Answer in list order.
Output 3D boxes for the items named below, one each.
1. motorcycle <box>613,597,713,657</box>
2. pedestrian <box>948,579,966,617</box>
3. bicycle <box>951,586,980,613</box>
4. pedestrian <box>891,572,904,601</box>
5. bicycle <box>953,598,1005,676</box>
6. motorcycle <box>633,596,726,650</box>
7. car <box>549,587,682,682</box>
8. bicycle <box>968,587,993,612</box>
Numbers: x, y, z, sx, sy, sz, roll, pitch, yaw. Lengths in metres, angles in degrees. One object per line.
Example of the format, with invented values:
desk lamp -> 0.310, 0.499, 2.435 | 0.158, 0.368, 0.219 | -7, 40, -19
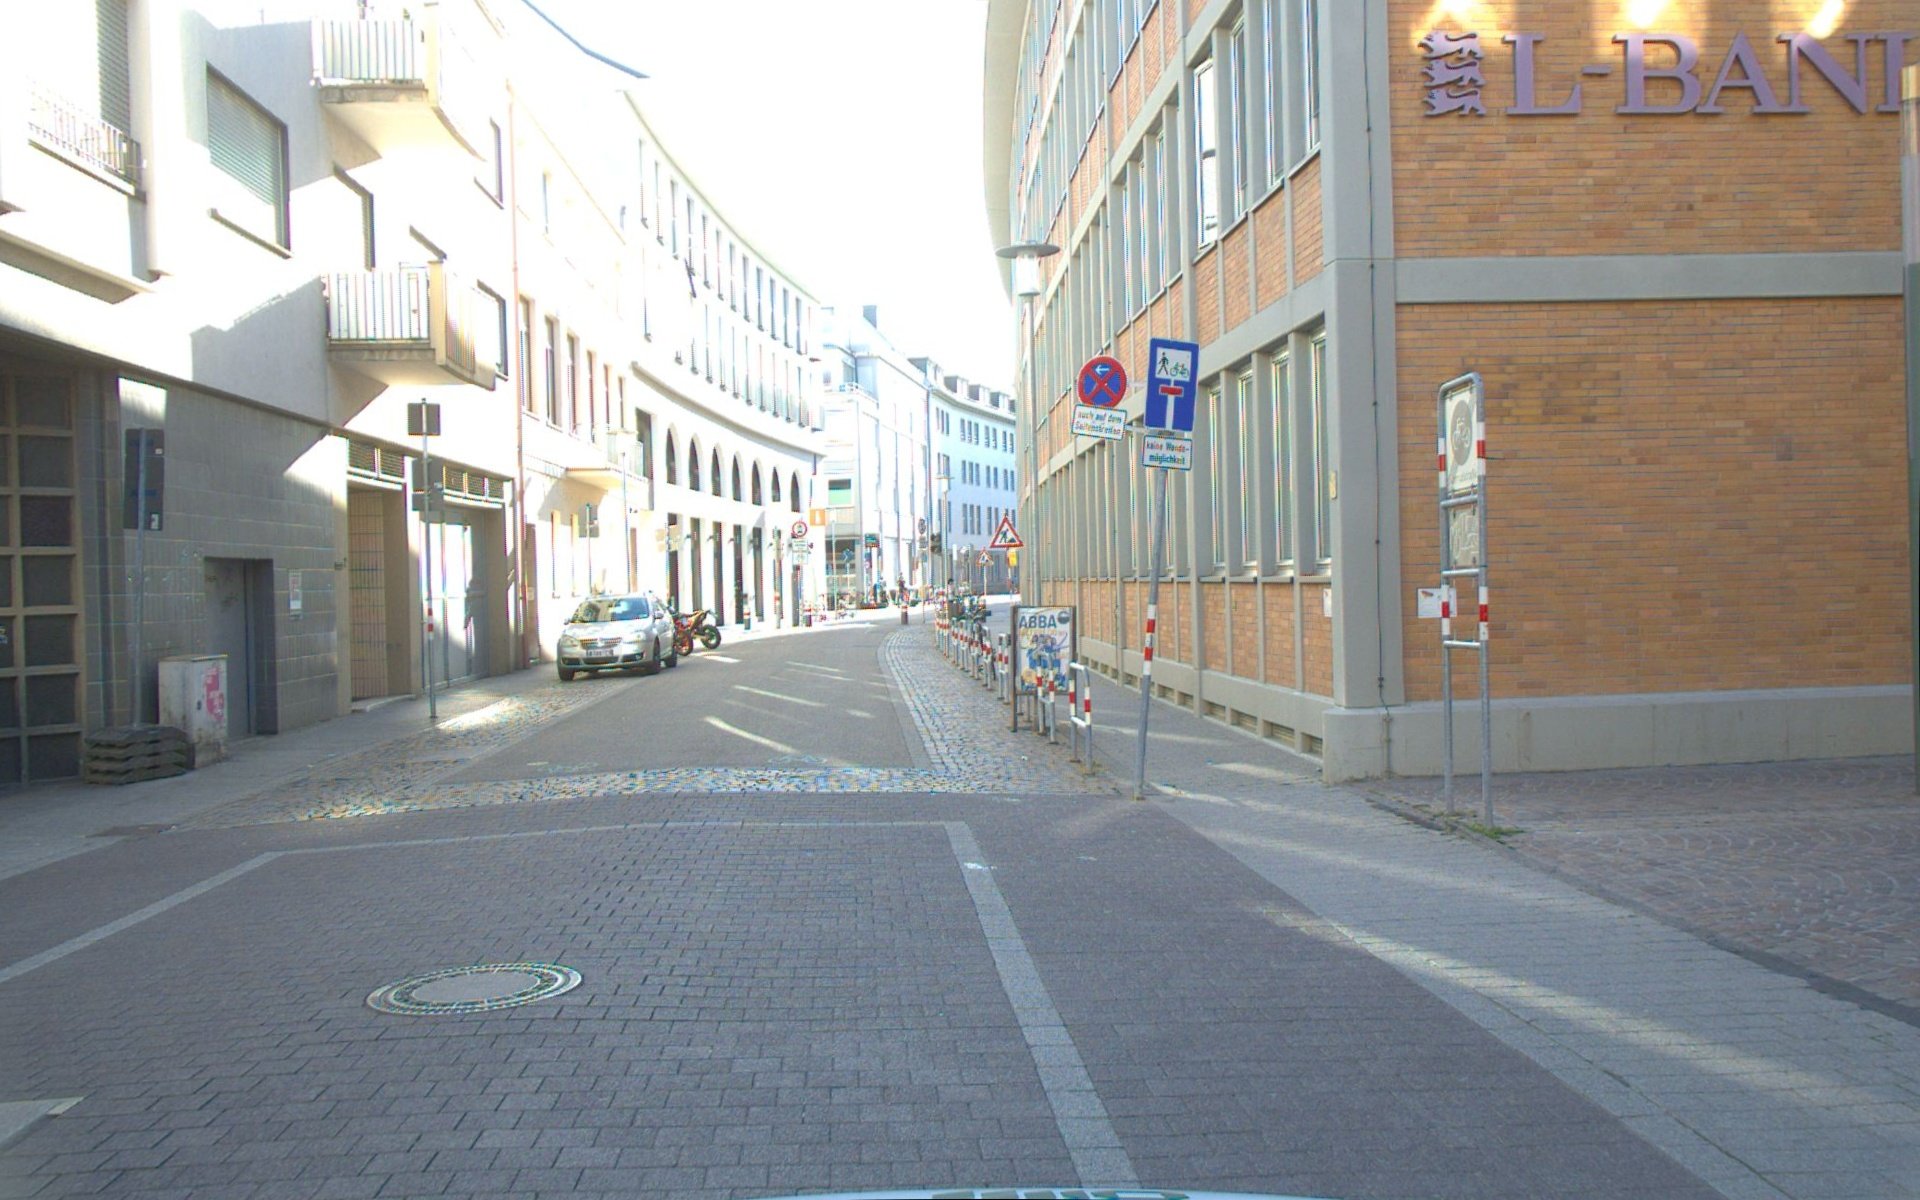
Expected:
motorcycle -> -6.740, 0.614, 37.528 | 2.159, 1.267, 0.575 | -2, 1, 17
pedestrian -> -0.122, -0.086, 63.887 | 0.644, 1.466, 0.595 | -1, 0, -2
bicycle -> 0.243, -0.045, 68.700 | 0.908, 1.066, 3.369 | -1, 1, 4
pedestrian -> -3.455, -0.728, 91.148 | 0.644, 1.554, 0.482 | -2, 1, -2
bicycle -> 0.283, 0.553, 25.765 | 0.623, 1.136, 1.929 | -1, 1, -4
motorcycle -> -7.029, 0.574, 41.479 | 2.234, 1.267, 0.575 | -2, 1, 17
car -> -6.209, 0.580, 30.205 | 1.730, 1.496, 3.811 | -3, 1, -3
bicycle -> 0.927, -0.035, 73.480 | 0.908, 0.977, 3.369 | -2, 1, 4
